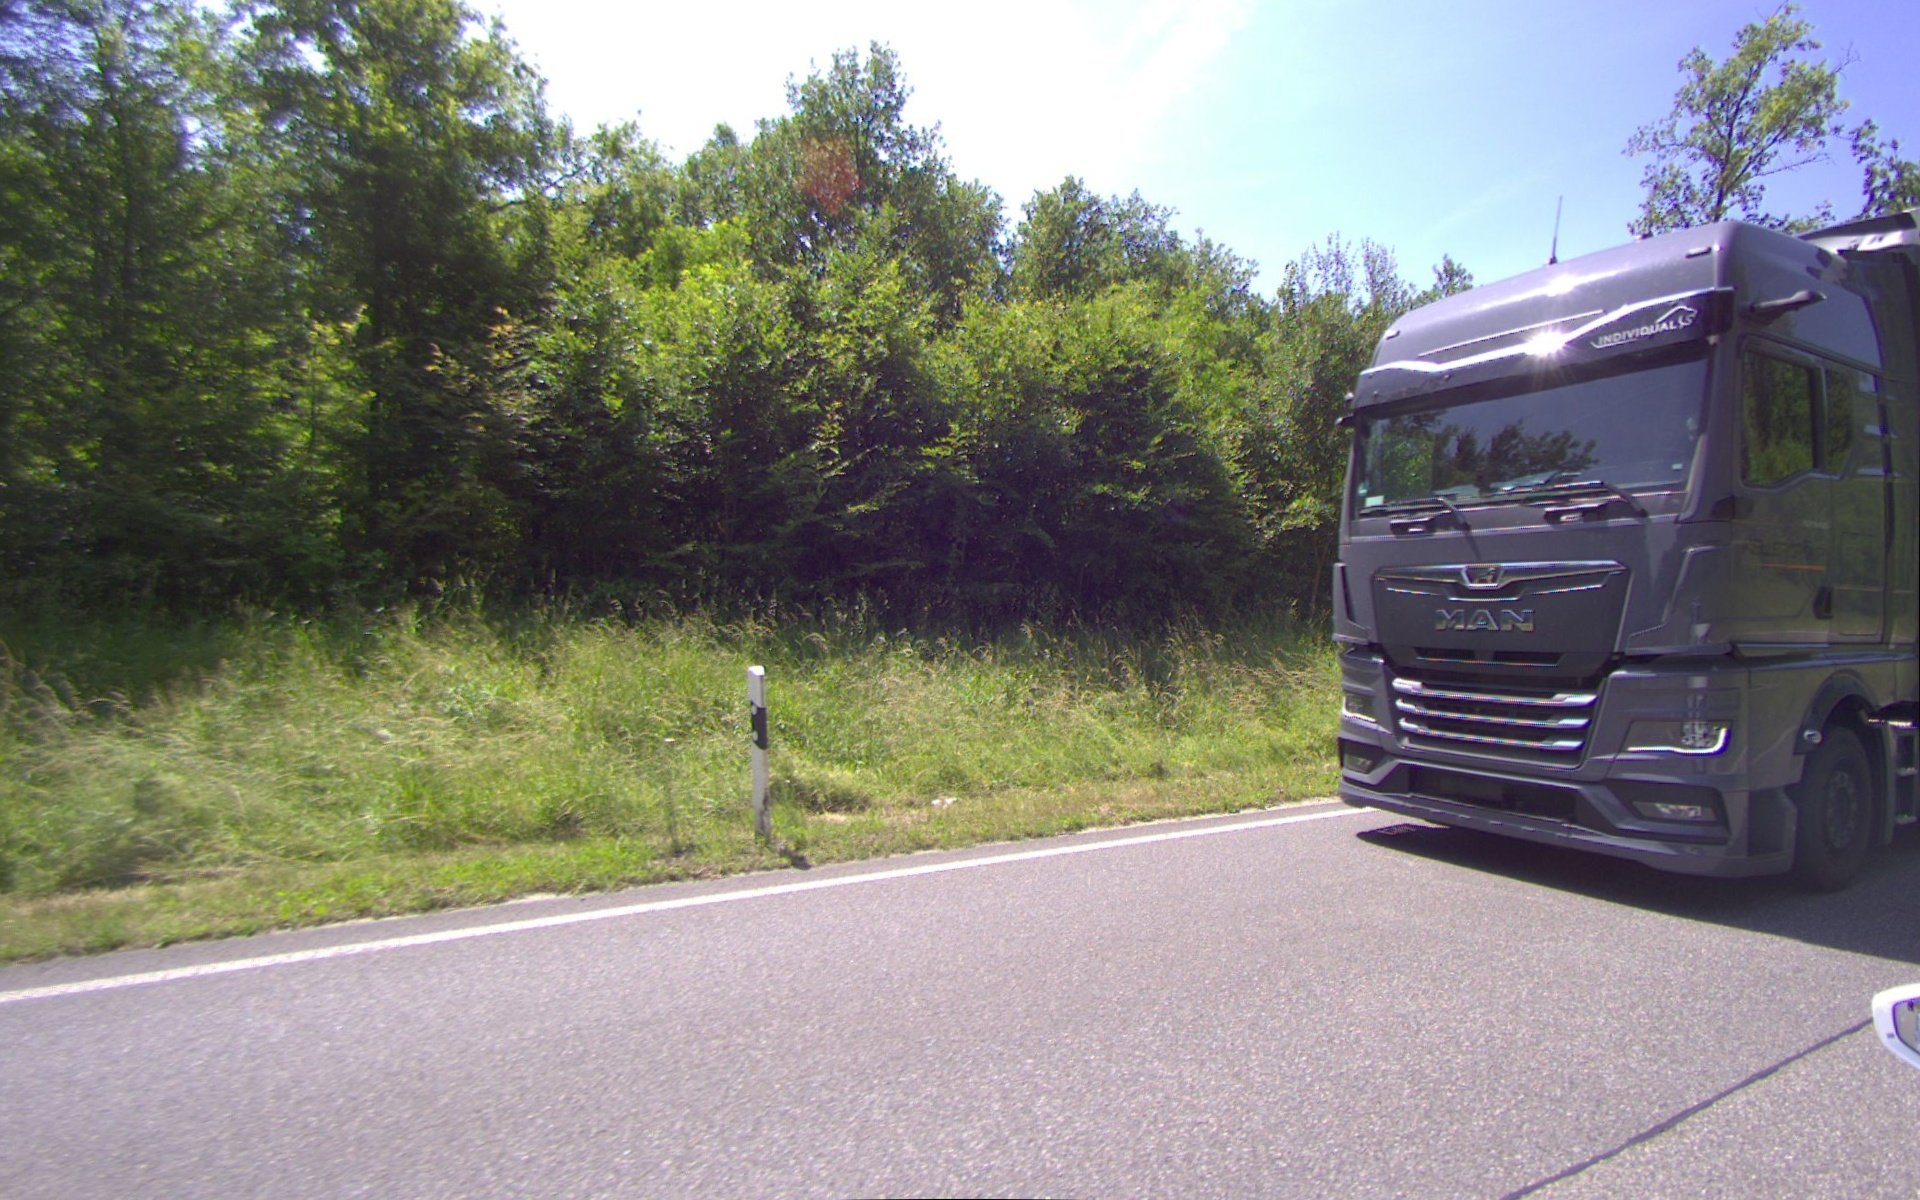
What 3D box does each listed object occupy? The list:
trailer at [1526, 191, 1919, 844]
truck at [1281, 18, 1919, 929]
[{"bbox_3d":[11.477,-0.434,11.151,13.465,4.309,2.926,1,-1,-32],"label":"trailer"},{"bbox_3d":[5.299,-0.544,7.341,5.282,4.272,2.907,1,-1,-31],"label":"truck"}]
